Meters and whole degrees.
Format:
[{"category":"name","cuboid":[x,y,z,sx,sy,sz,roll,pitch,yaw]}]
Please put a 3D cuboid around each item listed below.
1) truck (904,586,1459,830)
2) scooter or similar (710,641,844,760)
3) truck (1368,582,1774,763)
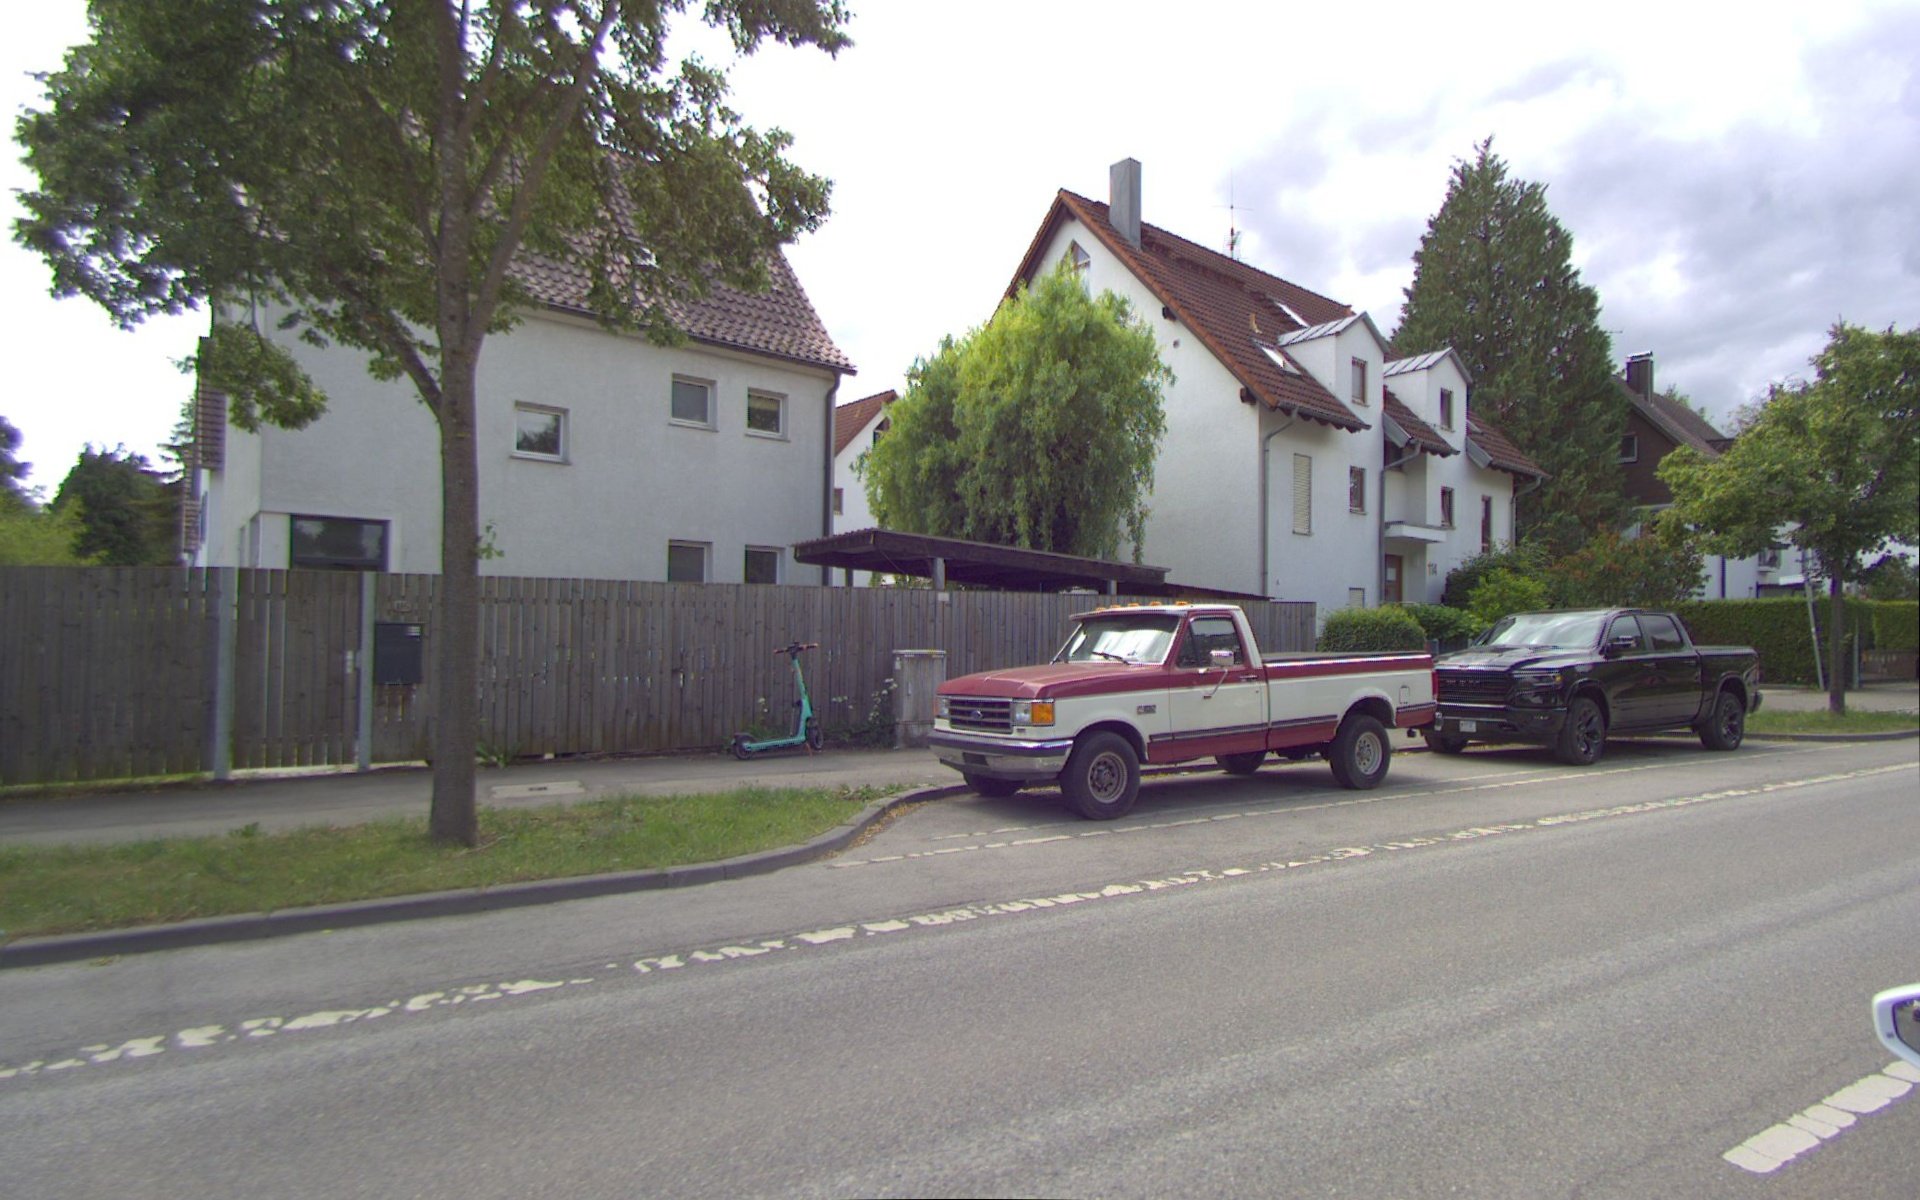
[{"category":"truck","cuboid":[2.362,0.952,10.083,5.598,1.892,1.958,1,-4,-30]},{"category":"scooter or similar","cuboid":[-2.039,1.095,11.231,1.291,1.228,0.631,2,0,-34]},{"category":"truck","cuboid":[8.664,0.912,14.082,5.926,2.070,2.411,1,-2,-31]}]
